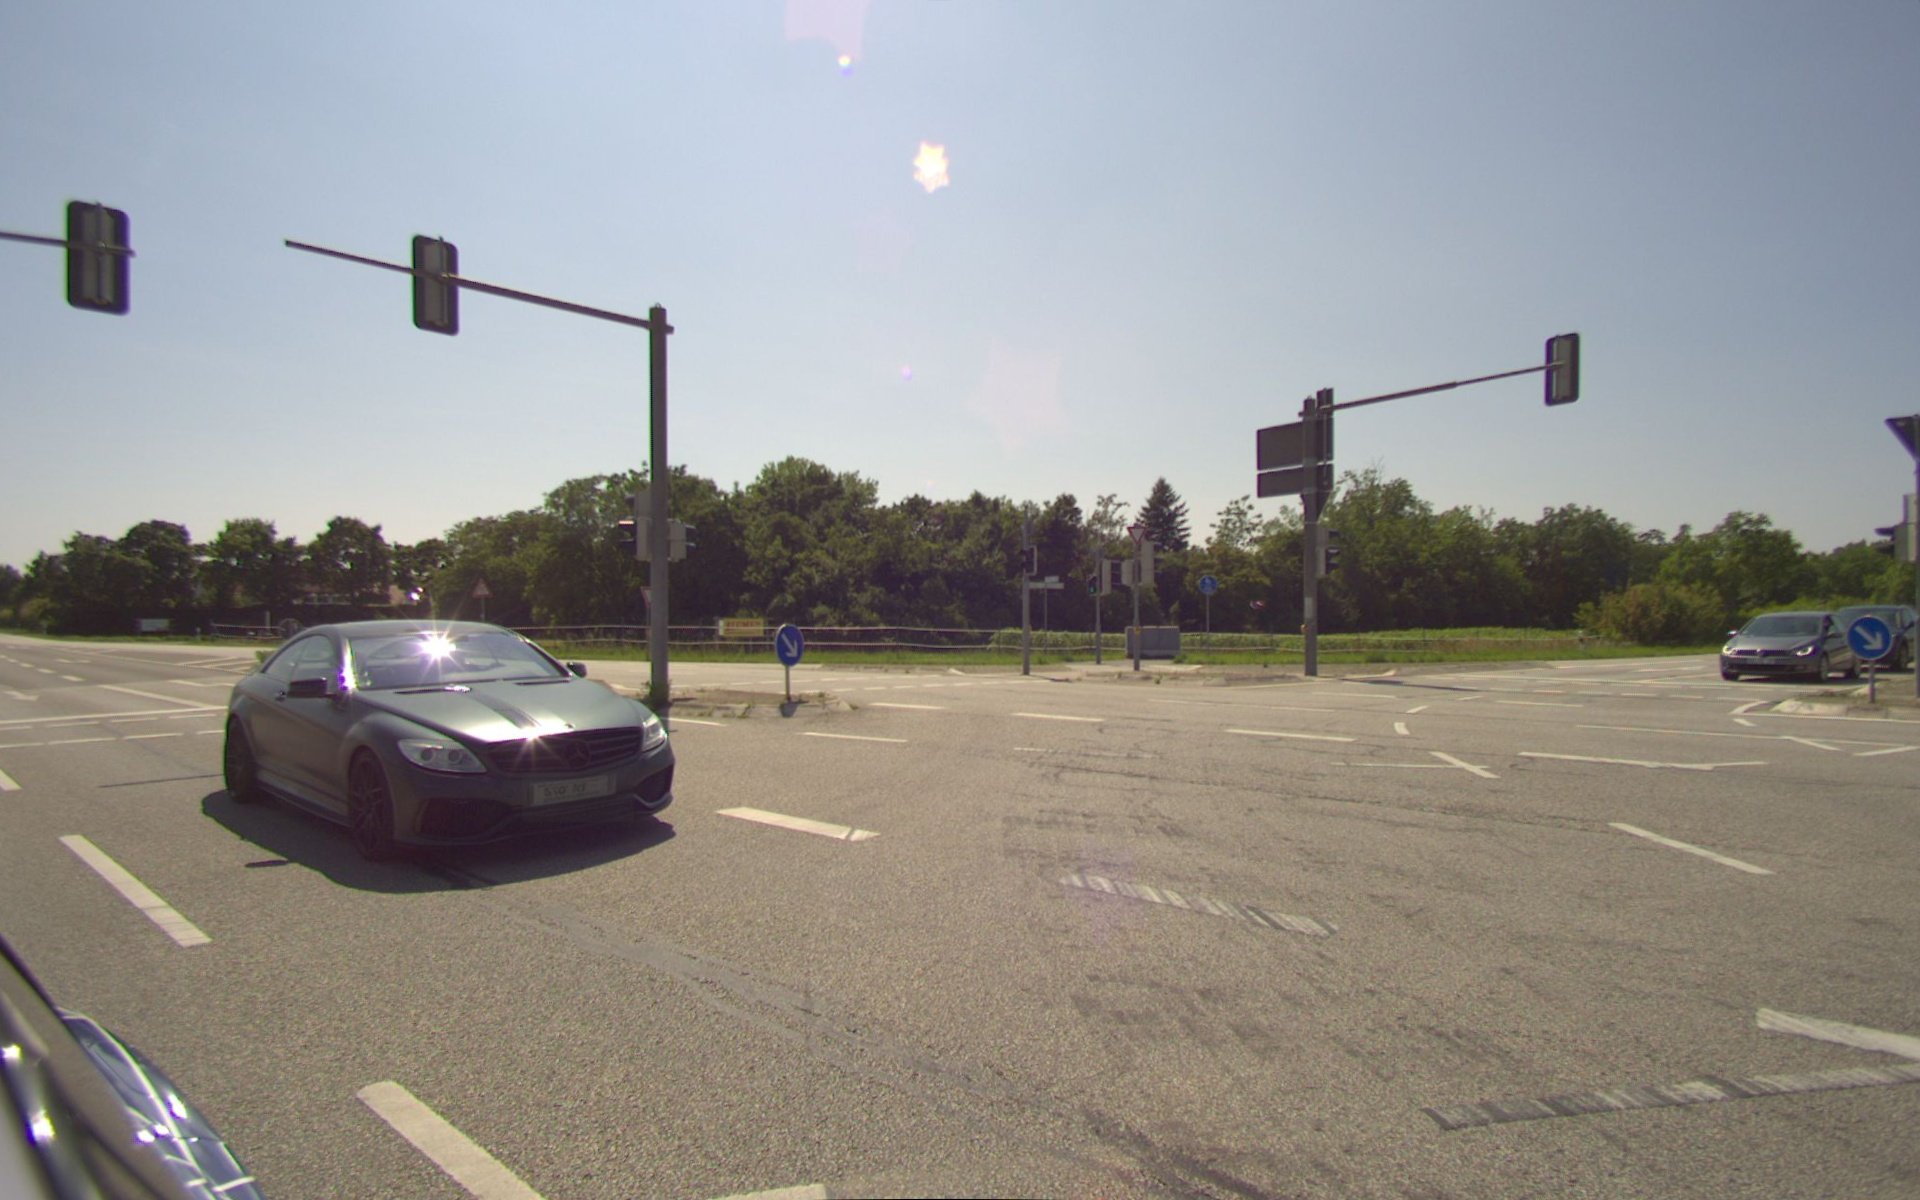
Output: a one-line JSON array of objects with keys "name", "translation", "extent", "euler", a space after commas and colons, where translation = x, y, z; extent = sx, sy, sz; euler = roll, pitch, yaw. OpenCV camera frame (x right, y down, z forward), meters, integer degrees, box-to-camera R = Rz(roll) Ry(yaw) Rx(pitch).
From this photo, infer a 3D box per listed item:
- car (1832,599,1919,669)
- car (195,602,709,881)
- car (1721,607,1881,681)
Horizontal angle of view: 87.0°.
[{"name": "car", "translation": [23.478, 0.815, 25.071], "extent": [4.295, 1.606, 1.639], "euler": [1, -2, -32]}, {"name": "car", "translation": [-4.082, 0.788, 7.657], "extent": [4.875, 1.461, 1.792], "euler": [-1, 0, 41]}, {"name": "car", "translation": [18.049, 0.888, 21.678], "extent": [3.816, 1.397, 1.639], "euler": [-1, -1, -35]}]
